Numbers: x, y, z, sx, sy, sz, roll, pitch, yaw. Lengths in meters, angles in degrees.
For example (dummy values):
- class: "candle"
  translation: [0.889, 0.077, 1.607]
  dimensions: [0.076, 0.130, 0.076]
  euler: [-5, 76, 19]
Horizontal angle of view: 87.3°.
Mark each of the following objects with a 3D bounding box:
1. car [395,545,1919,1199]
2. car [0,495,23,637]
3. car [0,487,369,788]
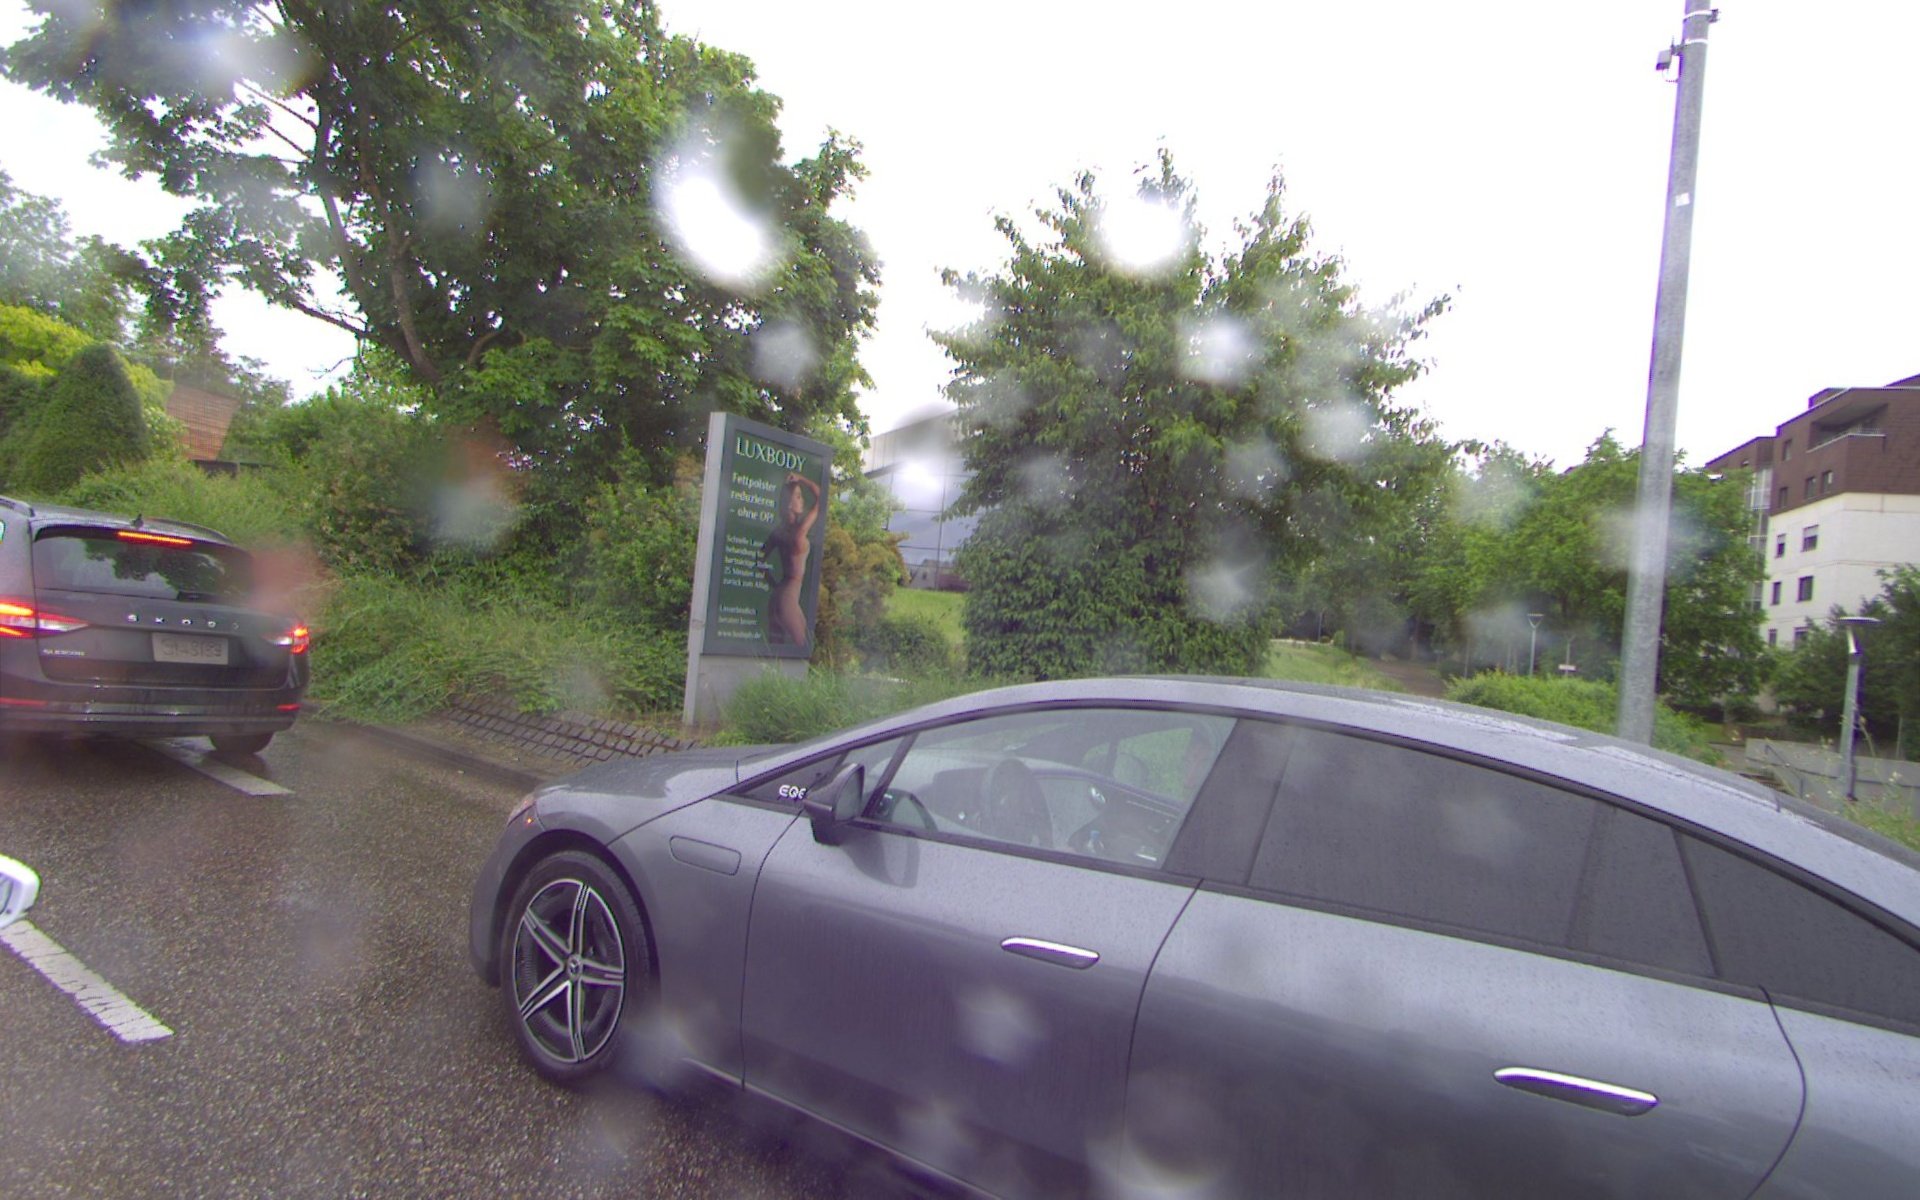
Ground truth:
- class: "car"
  translation: [0.686, 0.903, 2.917]
  dimensions: [4.728, 1.483, 1.842]
  euler: [7, -2, 31]
- class: "car"
  translation: [-12.198, -0.662, 10.899]
  dimensions: [4.048, 1.483, 1.842]
  euler: [7, -2, 31]
- class: "car"
  translation: [-6.104, 0.059, 6.768]
  dimensions: [4.279, 1.483, 1.841]
  euler: [7, -2, 33]
